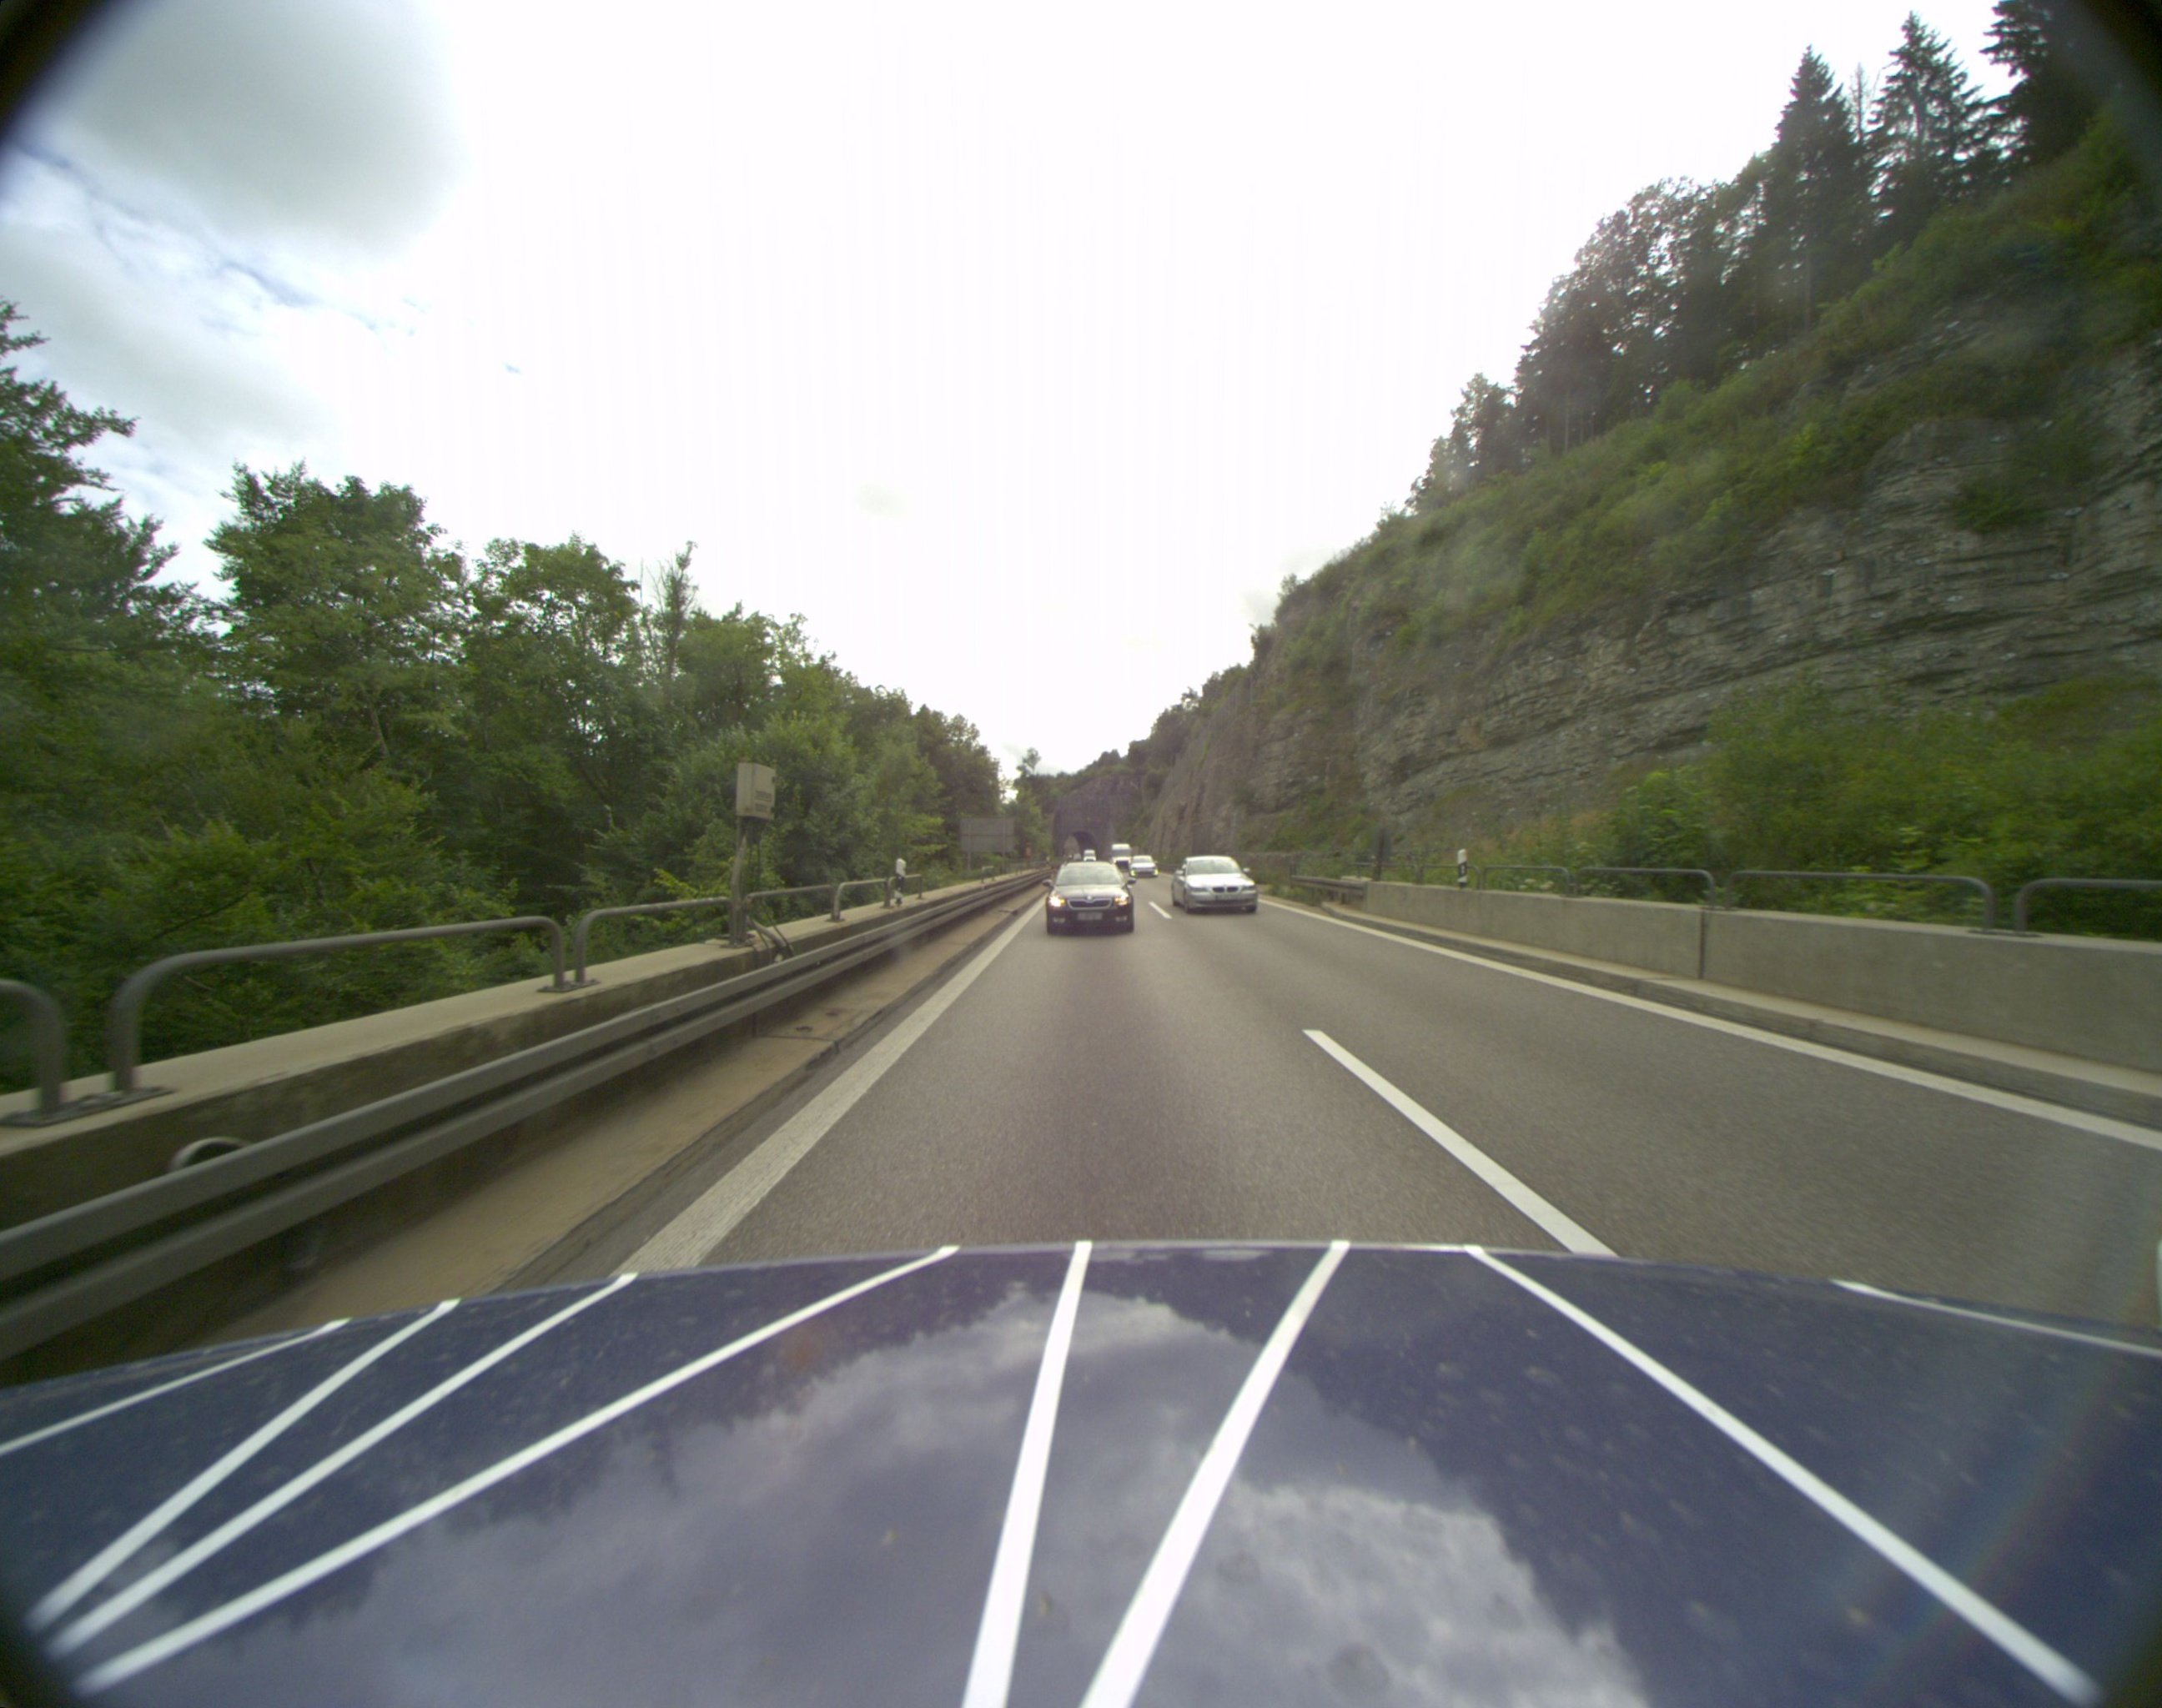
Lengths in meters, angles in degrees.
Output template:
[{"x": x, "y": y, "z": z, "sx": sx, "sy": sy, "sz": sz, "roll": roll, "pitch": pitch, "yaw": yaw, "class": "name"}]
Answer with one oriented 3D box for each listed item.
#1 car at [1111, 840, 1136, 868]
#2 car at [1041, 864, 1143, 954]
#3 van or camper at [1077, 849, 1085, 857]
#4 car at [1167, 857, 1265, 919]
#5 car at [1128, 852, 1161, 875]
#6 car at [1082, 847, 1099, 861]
[{"x": 3.993, "y": 0.000, "z": 72.172, "sx": 1.869, "sy": 2.444, "sz": 4.981, "roll": -2, "pitch": 2, "yaw": -1, "class": "car"}, {"x": 0.216, "y": 0.956, "z": 15.068, "sx": 1.677, "sy": 1.418, "sz": 4.473, "roll": -2, "pitch": 0, "yaw": 1, "class": "car"}, {"x": -0.003, "y": -0.278, "z": 185.873, "sx": 1.999, "sy": 2.002, "sz": 3.999, "roll": -2, "pitch": 0, "yaw": -1, "class": "van or camper"}, {"x": 3.587, "y": 0.829, "z": 21.131, "sx": 1.832, "sy": 1.448, "sz": 5.135, "roll": -2, "pitch": 0, "yaw": 1, "class": "car"}, {"x": 4.336, "y": 0.632, "z": 52.100, "sx": 1.923, "sy": 1.452, "sz": 4.231, "roll": -2, "pitch": 0, "yaw": 1, "class": "car"}, {"x": 1.629, "y": -0.026, "z": 135.743, "sx": 2.675, "sy": 2.408, "sz": 6.119, "roll": -2, "pitch": 0, "yaw": -3, "class": "car"}]
